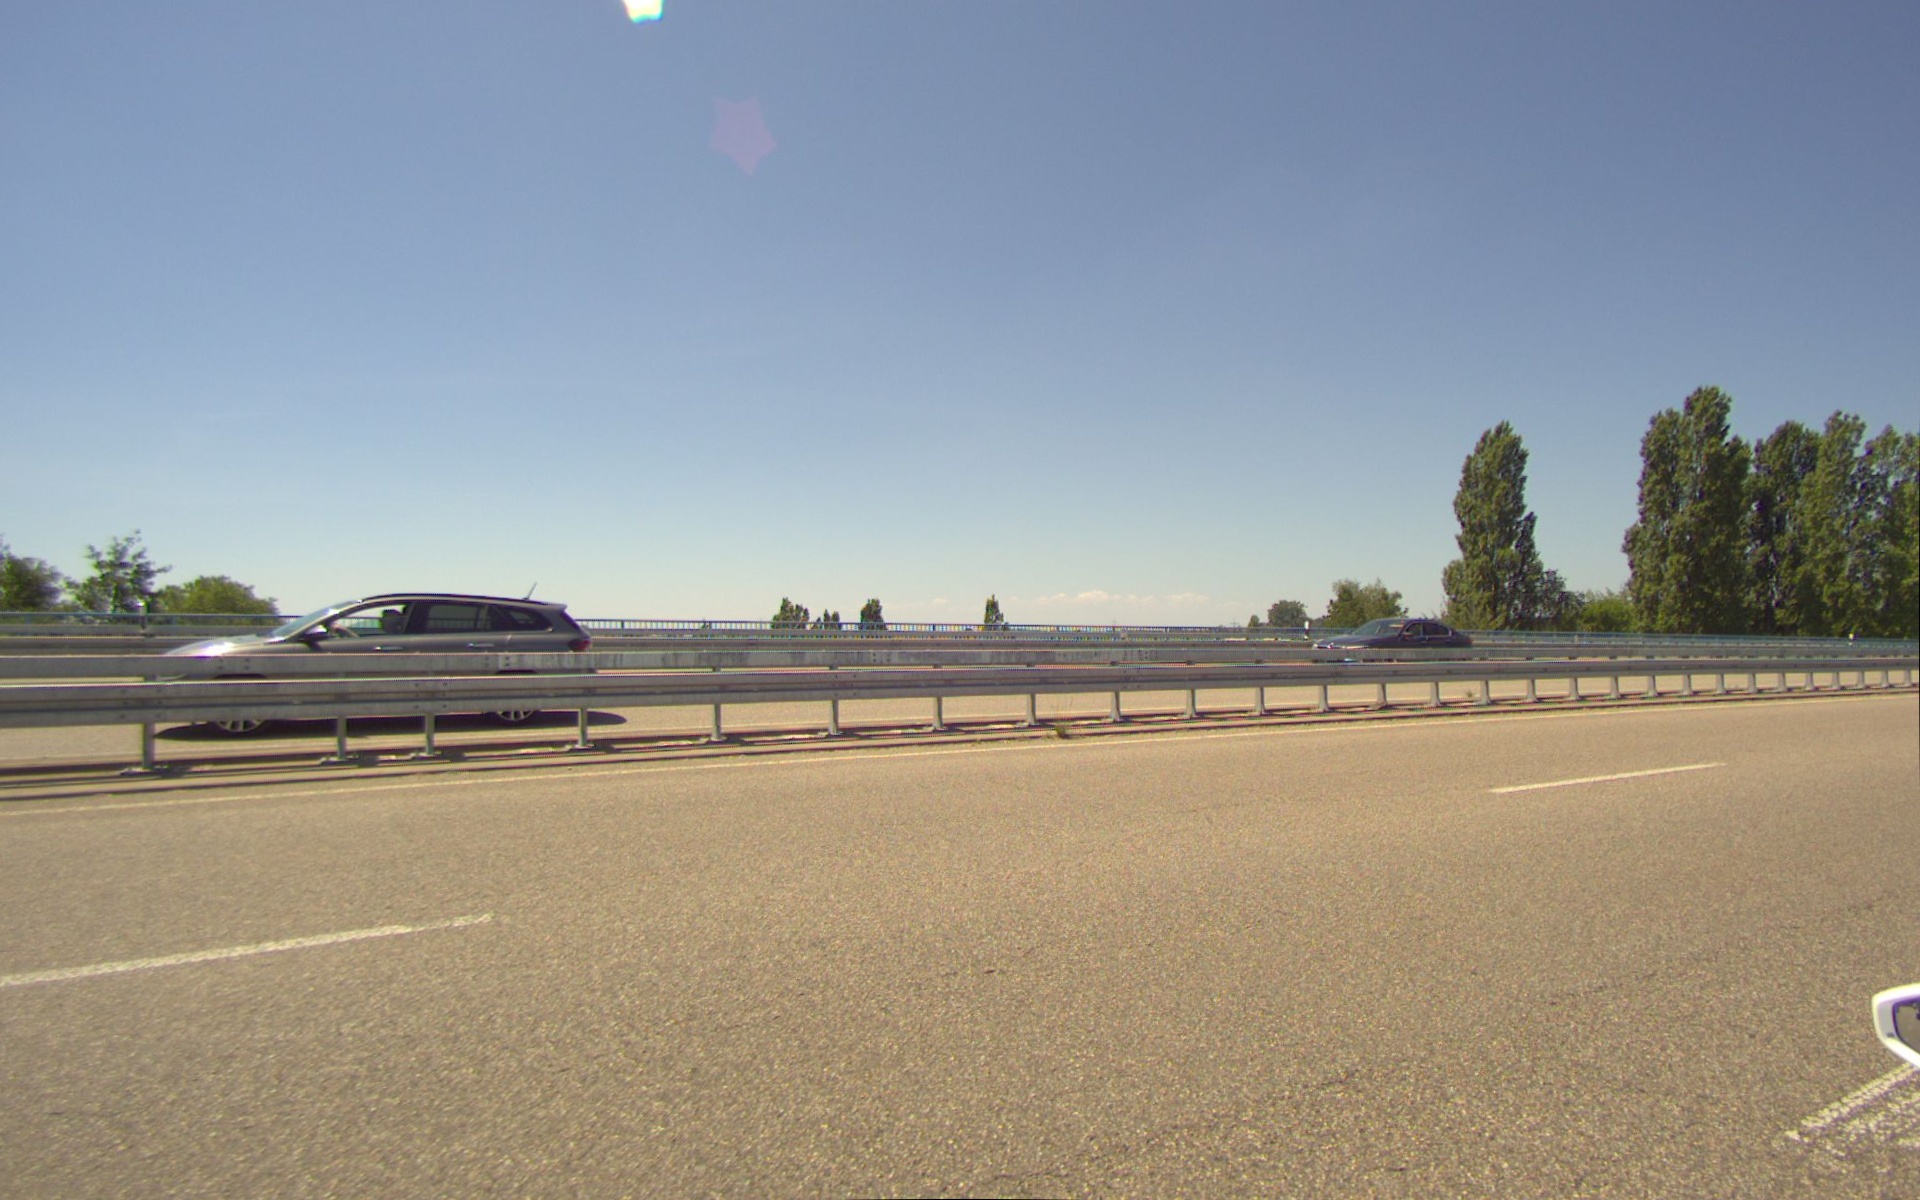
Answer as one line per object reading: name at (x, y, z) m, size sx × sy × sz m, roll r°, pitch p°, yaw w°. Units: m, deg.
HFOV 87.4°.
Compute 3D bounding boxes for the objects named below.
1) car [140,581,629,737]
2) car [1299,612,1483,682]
car at (-6.474, 0.614, 11.820) m, size 4.629 × 1.525 × 1.895 m, roll 1°, pitch 0°, yaw -30°
car at (11.406, 1.245, 26.465) m, size 4.991 × 1.689 × 1.835 m, roll 2°, pitch -2°, yaw -30°
